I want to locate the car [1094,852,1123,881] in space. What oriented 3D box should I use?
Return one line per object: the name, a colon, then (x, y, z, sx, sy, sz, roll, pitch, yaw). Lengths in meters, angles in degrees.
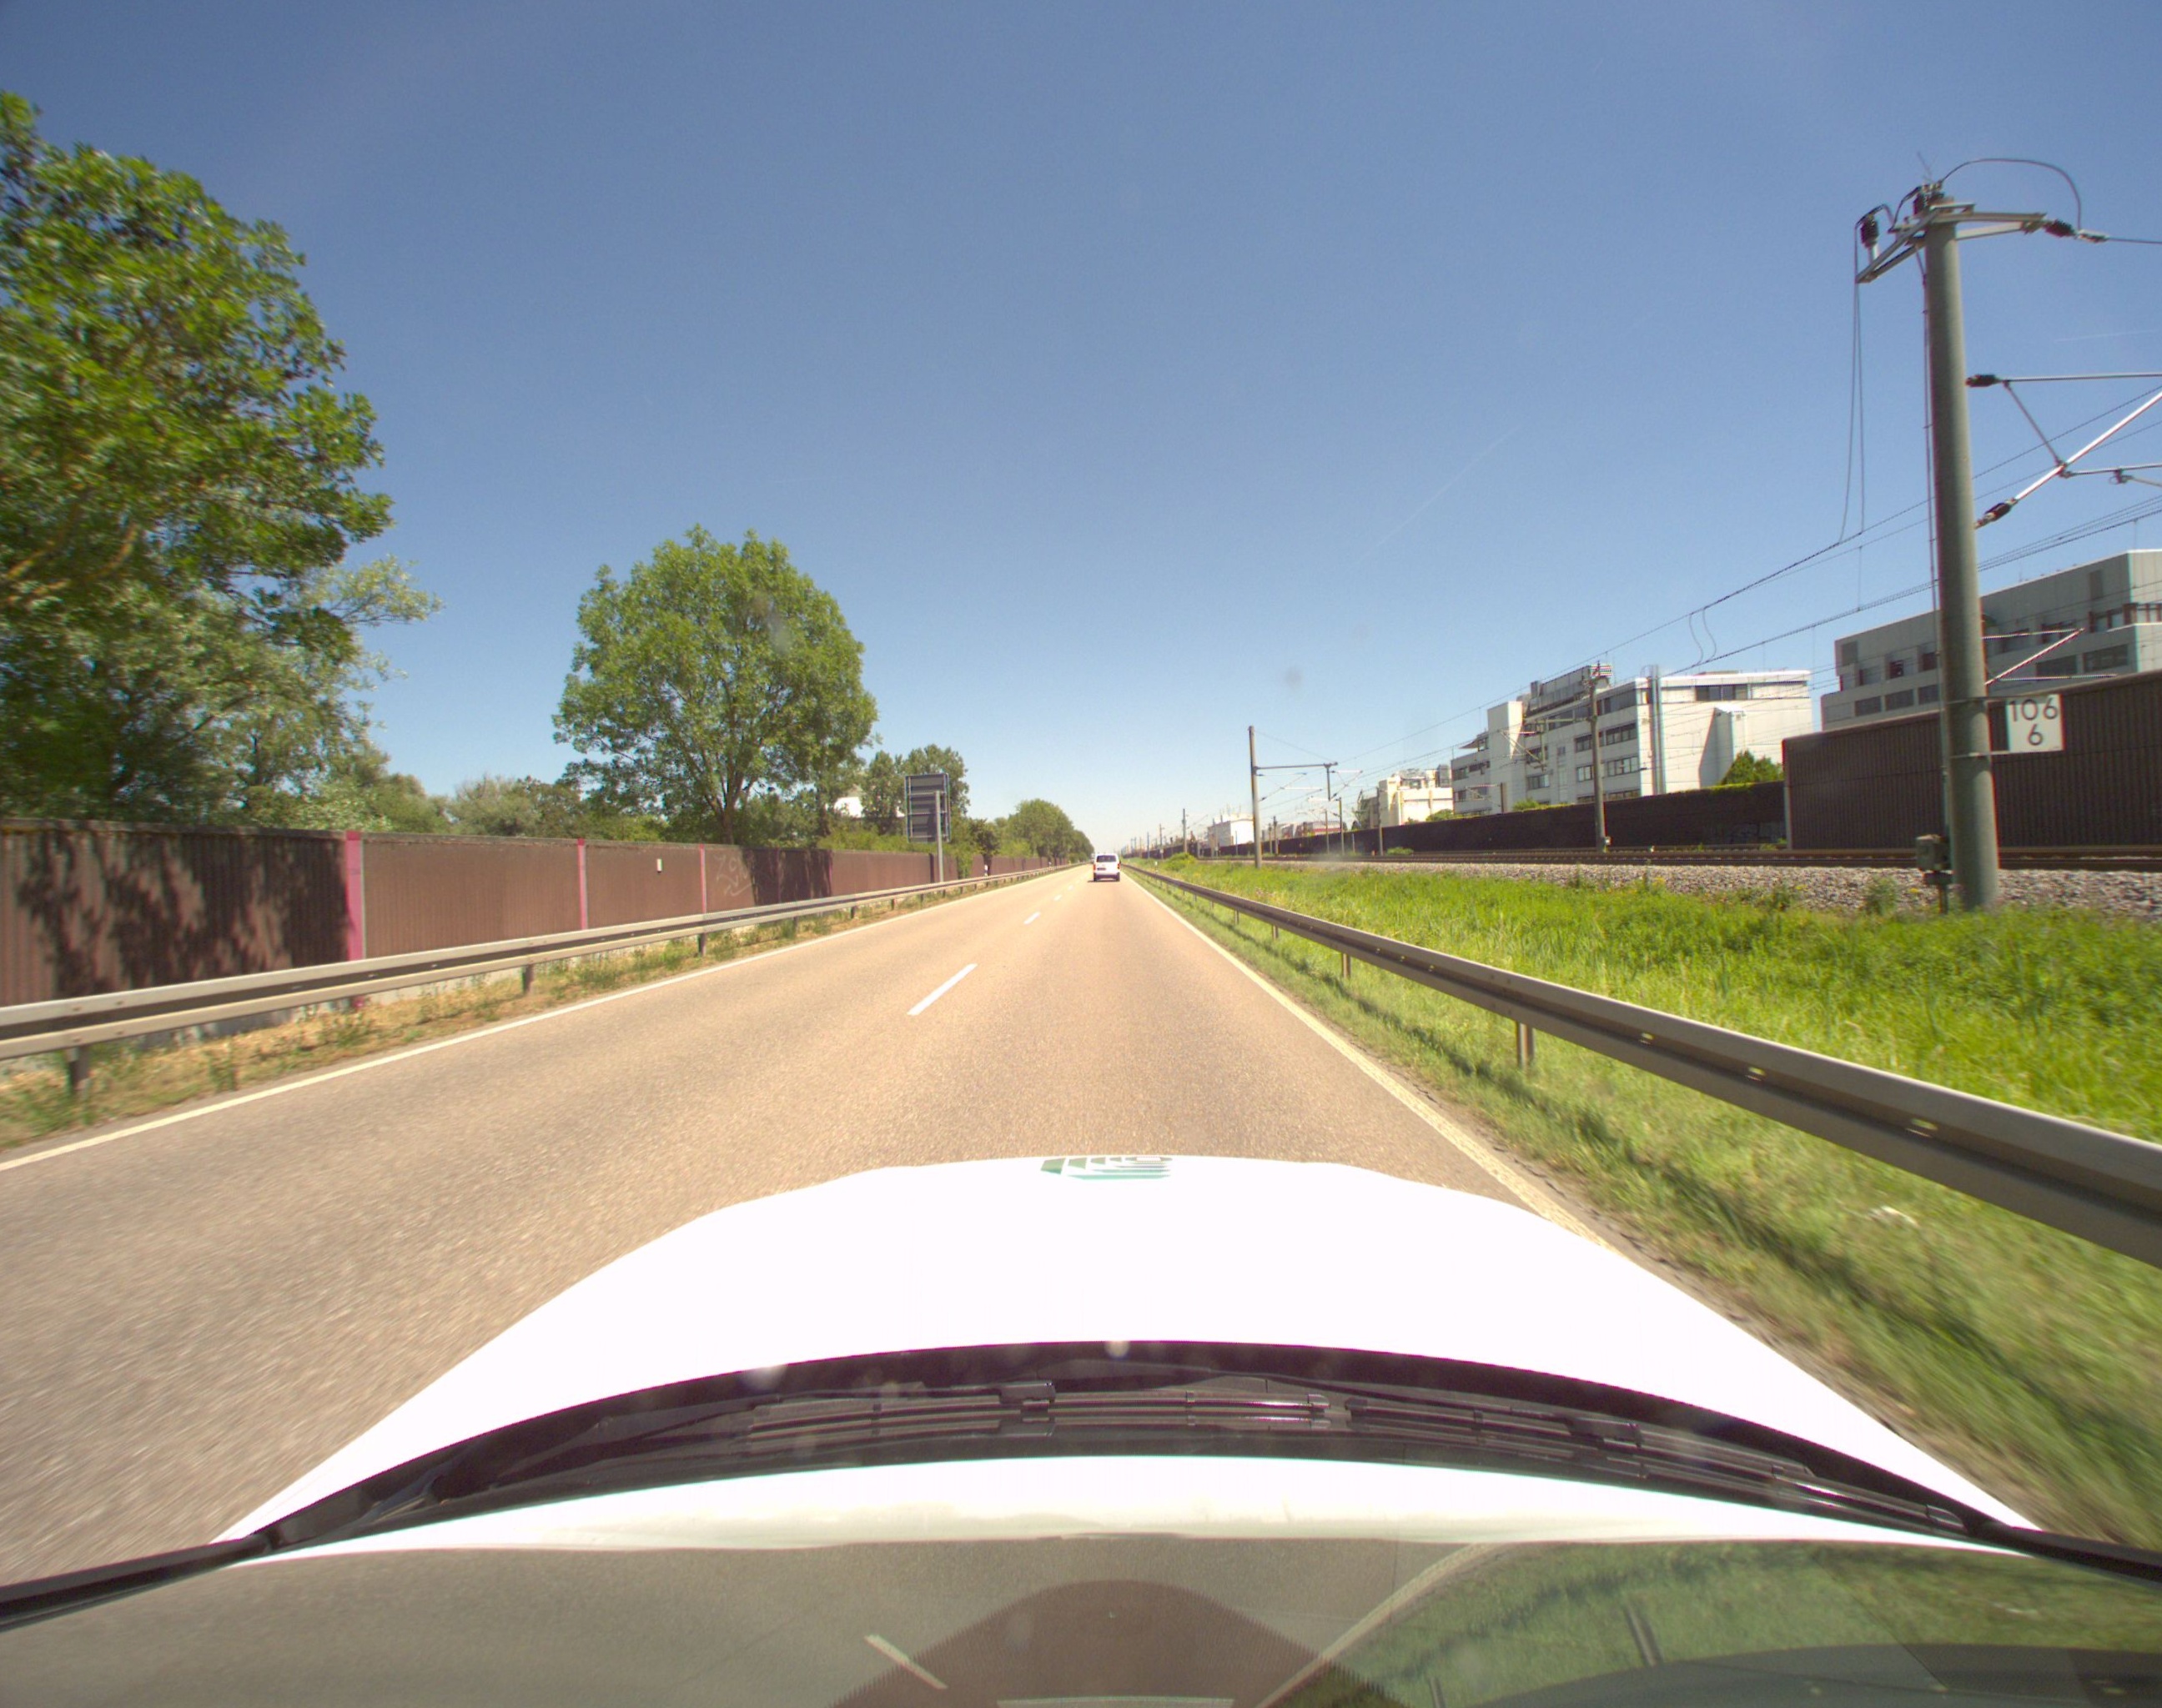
car: (1.949, 0.884, 57.708, 1.938, 1.881, 4.882, -1, -1, 2)
